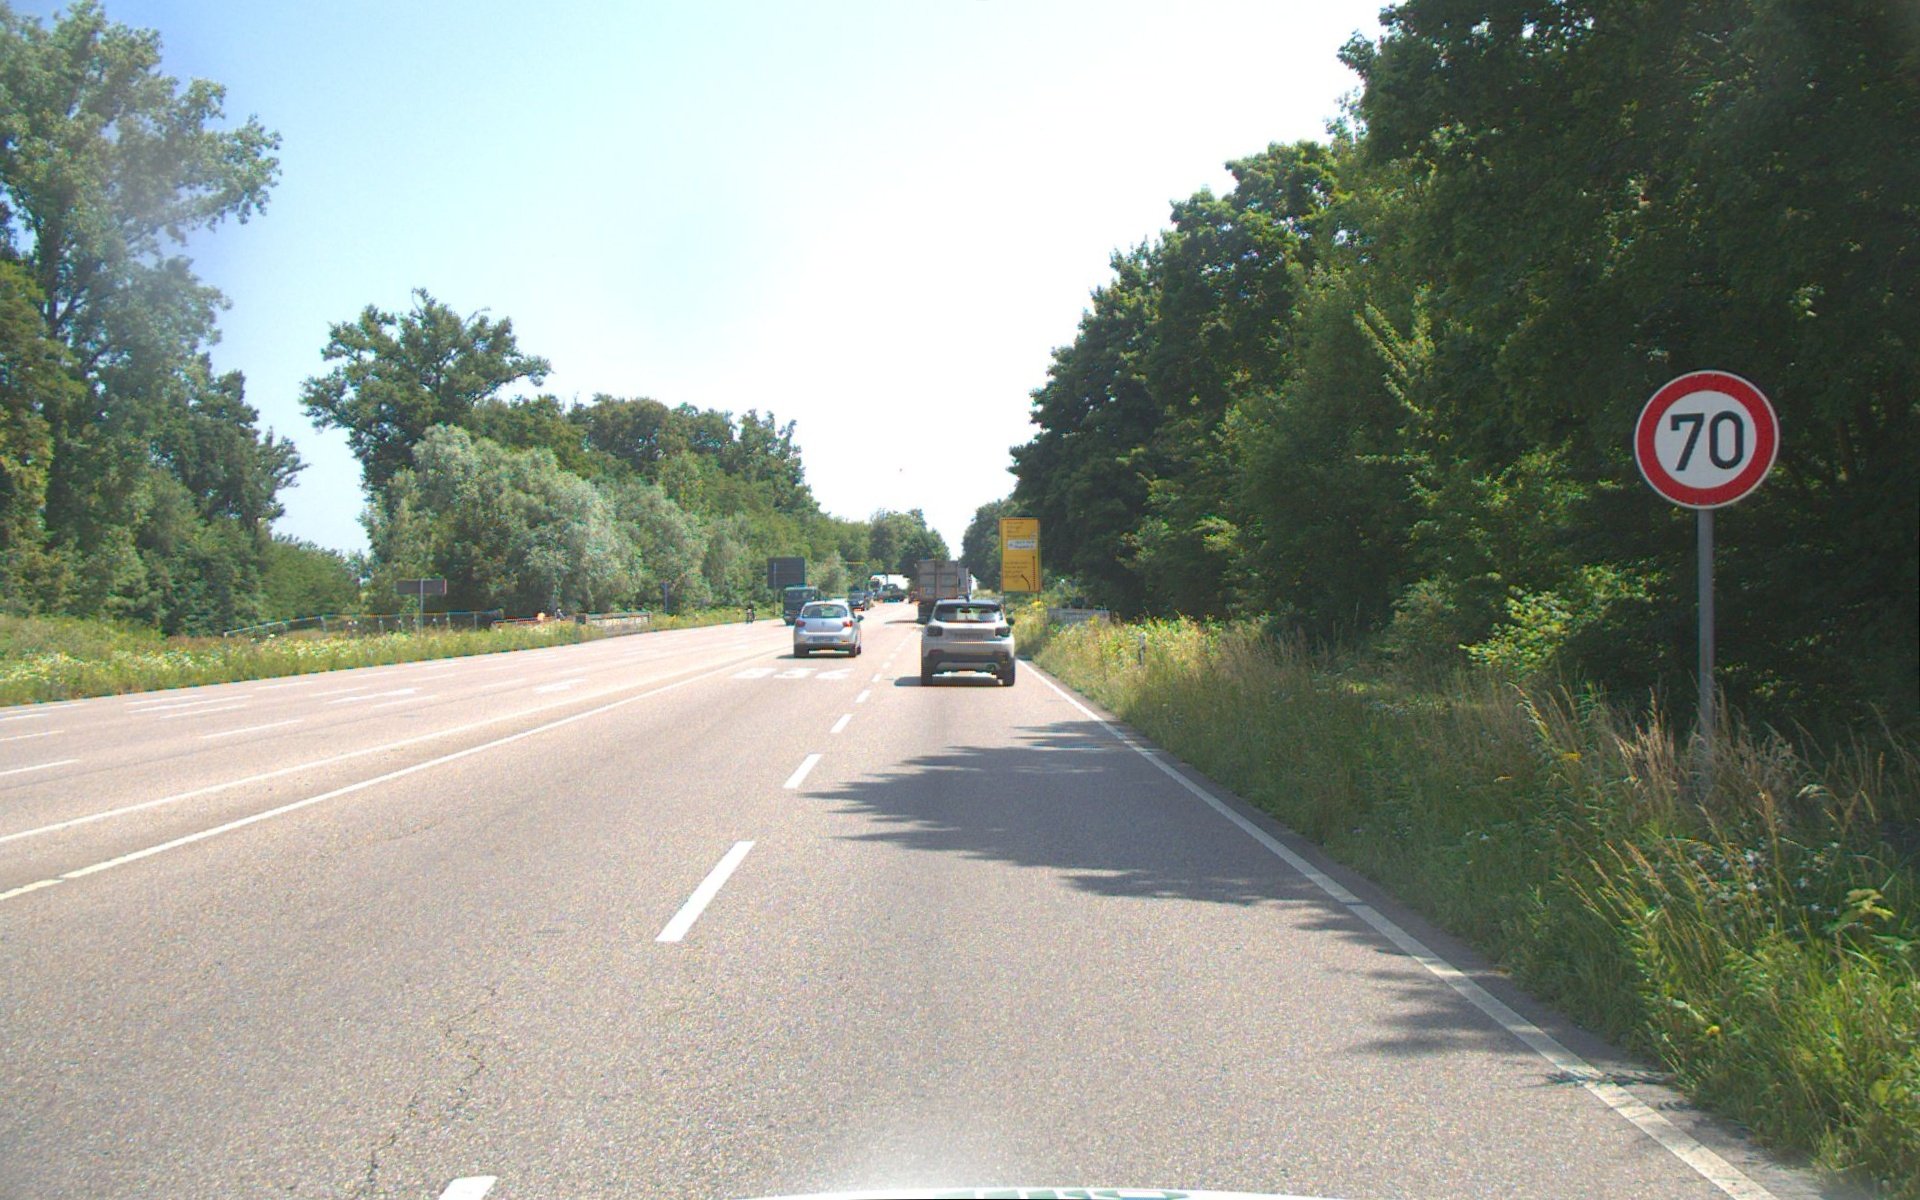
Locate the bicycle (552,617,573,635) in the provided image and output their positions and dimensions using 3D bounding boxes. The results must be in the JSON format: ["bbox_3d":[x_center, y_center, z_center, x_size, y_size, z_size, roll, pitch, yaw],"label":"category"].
[{"bbox_3d":[-24.285,1.576,101.066,0.591,1.023,1.557,-2,0,11],"label":"bicycle"}]

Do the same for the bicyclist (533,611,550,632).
[{"bbox_3d":[-24.553,1.275,97.127,0.741,1.216,0.592,-2,0,10],"label":"bicyclist"}]

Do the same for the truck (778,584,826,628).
[{"bbox_3d":[-10.629,0.389,111.768,2.404,2.702,6.491,-4,0,0],"label":"truck"}]

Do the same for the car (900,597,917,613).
[{"bbox_3d":[-6.926,0.637,221.765,1.954,2.049,4.549,-1,0,-4],"label":"car"}]

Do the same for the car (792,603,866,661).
[{"bbox_3d":[-3.437,0.822,43.932,1.631,1.455,3.828,0,0,1],"label":"car"}]

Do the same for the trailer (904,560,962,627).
[{"bbox_3d":[-1.614,-0.356,105.136,3.313,4.058,10.804,0,0,1],"label":"trailer"}]

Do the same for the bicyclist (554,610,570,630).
[{"bbox_3d":[-24.309,1.207,101.079,0.719,1.216,0.592,-2,-1,11],"label":"bicyclist"}]

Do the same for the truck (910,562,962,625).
[{"bbox_3d":[-1.550,-0.374,110.174,3.264,4.058,6.533,0,0,1],"label":"truck"}]

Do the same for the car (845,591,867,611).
[{"bbox_3d":[-10.772,0.114,171.646,1.953,1.914,4.959,-2,0,-1],"label":"car"}]

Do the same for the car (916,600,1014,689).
[{"bbox_3d":[0.109,0.801,31.480,1.731,1.561,4.000,-1,0,1],"label":"car"}]

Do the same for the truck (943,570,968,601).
[{"bbox_3d":[-0.717,-1.975,236.853,3.426,4.261,10.782,0,0,-1],"label":"truck"}]

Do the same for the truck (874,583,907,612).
[{"bbox_3d":[-10.349,-0.342,245.928,3.580,4.177,9.484,-1,0,-11],"label":"truck"}]

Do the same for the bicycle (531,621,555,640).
[{"bbox_3d":[-24.513,1.776,97.230,0.661,1.022,1.802,-2,0,10],"label":"bicycle"}]
